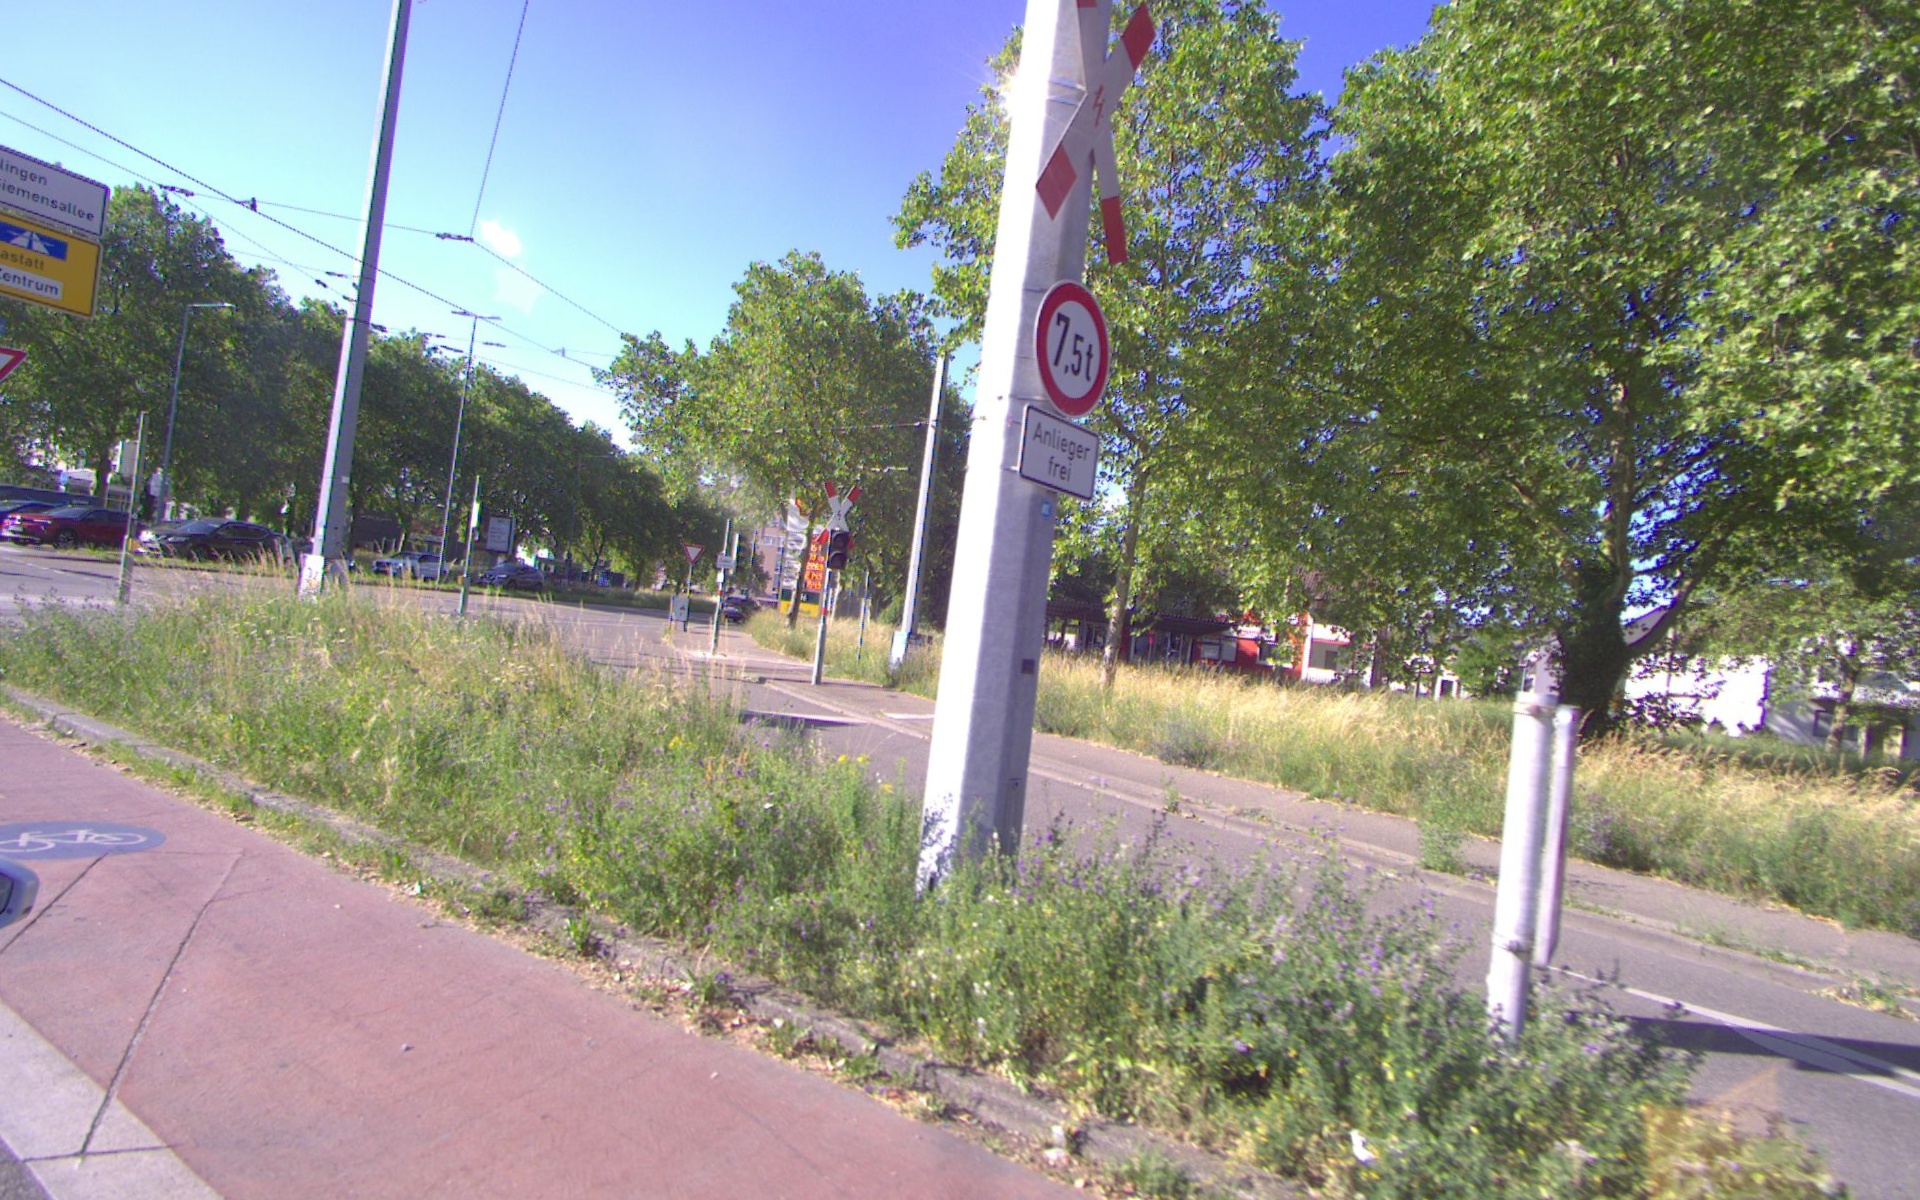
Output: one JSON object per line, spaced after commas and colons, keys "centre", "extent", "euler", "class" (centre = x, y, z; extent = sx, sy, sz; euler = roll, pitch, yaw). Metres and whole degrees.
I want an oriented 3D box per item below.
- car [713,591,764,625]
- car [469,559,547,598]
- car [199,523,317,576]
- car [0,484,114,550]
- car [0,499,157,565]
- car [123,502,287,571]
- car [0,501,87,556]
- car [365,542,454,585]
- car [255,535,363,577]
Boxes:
{"centre": [-13.815, 0.520, 62.897], "extent": [1.792, 1.724, 3.777], "euler": [7, -2, 7], "class": "car"}
{"centre": [-23.827, -1.094, 53.164], "extent": [1.962, 1.637, 4.003], "euler": [7, -1, 4], "class": "car"}
{"centre": [-28.614, -2.017, 41.177], "extent": [1.680, 1.619, 3.863], "euler": [7, -1, 7], "class": "car"}
{"centre": [-37.847, -3.481, 40.663], "extent": [2.098, 2.094, 5.104], "euler": [6, -2, 37], "class": "car"}
{"centre": [-29.280, -2.218, 33.239], "extent": [1.782, 1.619, 4.093], "euler": [7, -1, 7], "class": "car"}
{"centre": [-25.680, -2.102, 34.458], "extent": [1.885, 1.731, 4.498], "euler": [7, -1, 4], "class": "car"}
{"centre": [-33.013, -2.577, 34.954], "extent": [1.681, 1.619, 3.862], "euler": [7, -1, 3], "class": "car"}
{"centre": [-30.241, -1.961, 55.437], "extent": [1.873, 1.701, 4.783], "euler": [7, -3, 4], "class": "car"}
{"centre": [-31.219, -2.078, 48.411], "extent": [1.898, 1.424, 4.573], "euler": [7, -1, 4], "class": "car"}
